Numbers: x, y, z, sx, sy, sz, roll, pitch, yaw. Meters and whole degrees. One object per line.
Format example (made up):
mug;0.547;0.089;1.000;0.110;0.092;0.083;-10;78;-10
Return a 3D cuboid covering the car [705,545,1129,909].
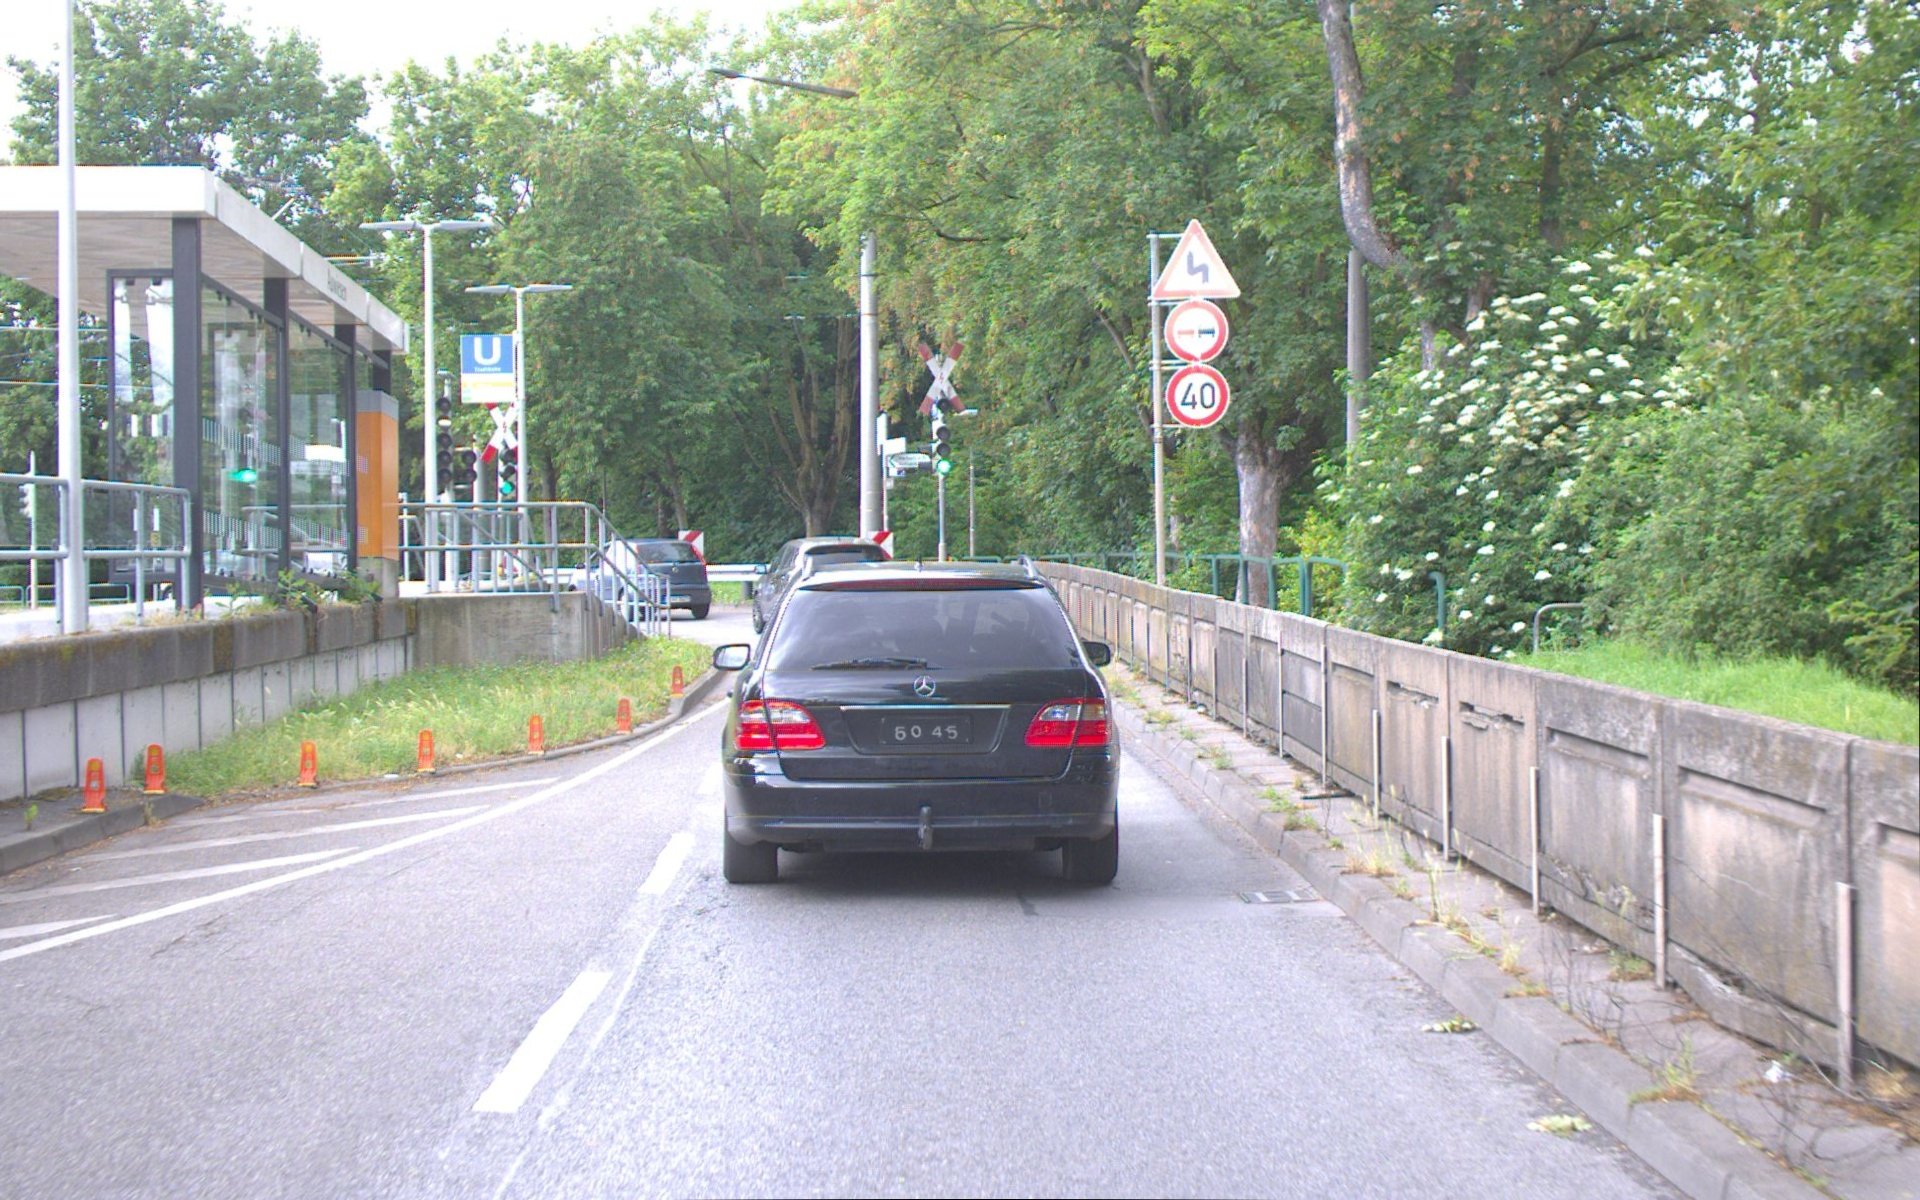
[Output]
car;-0.192;0.503;16.504;1.782;1.520;4.000;0;1;0

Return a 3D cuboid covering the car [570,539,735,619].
car;-5.694;-0.412;63.237;1.993;1.394;4.001;-1;1;-21

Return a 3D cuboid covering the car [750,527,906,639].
car;-2.073;-0.273;52.884;1.781;1.642;4.001;0;1;-11

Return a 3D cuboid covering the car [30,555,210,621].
car;-18.653;-0.287;76.255;3.997;1.394;1.995;1;2;43
